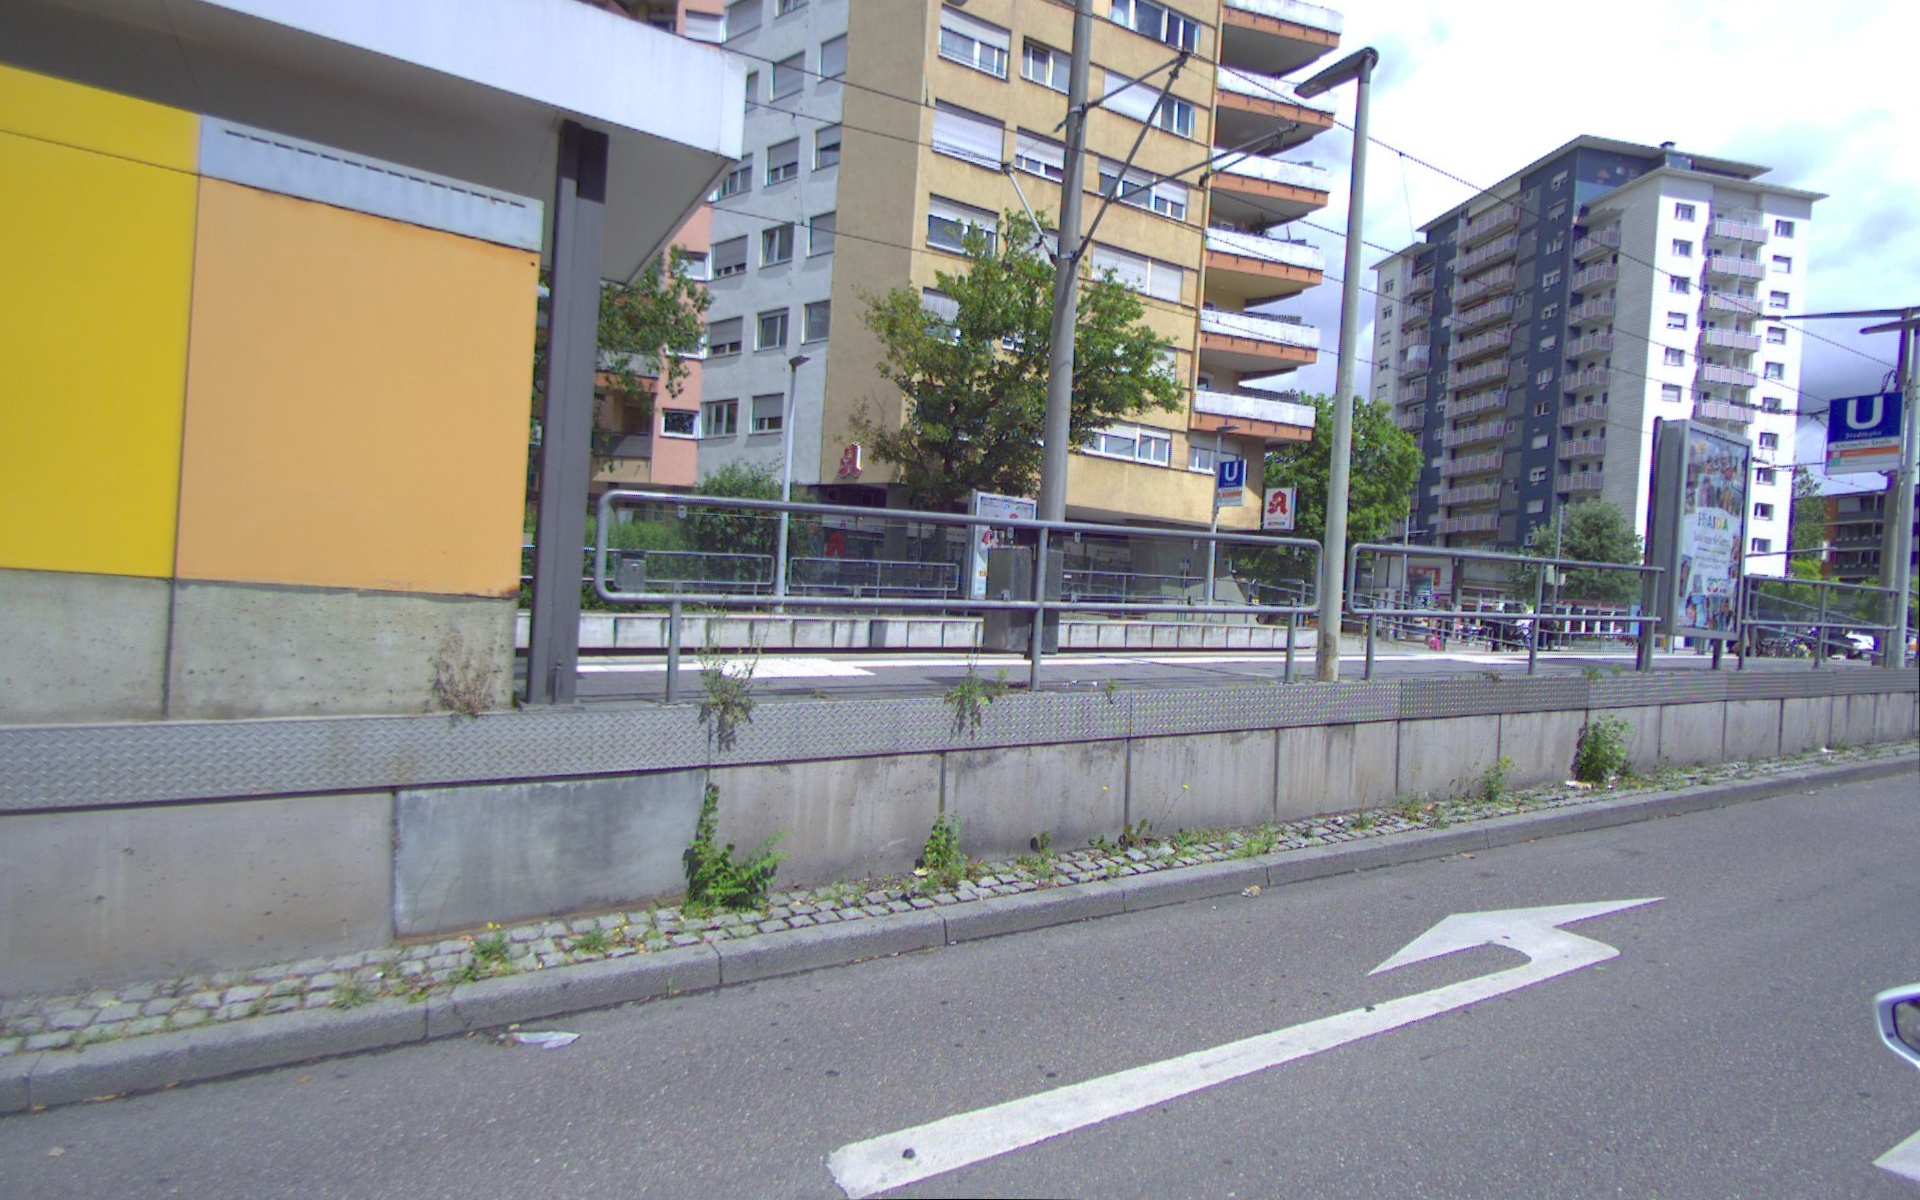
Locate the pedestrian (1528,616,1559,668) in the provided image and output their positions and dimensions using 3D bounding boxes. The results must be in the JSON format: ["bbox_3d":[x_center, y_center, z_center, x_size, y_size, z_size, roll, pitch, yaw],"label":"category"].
[{"bbox_3d":[15.627,1.110,26.914,0.677,1.360,0.859,1,0,30],"label":"pedestrian"}]

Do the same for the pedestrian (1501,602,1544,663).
[{"bbox_3d":[16.406,0.940,29.321,0.673,1.729,0.821,1,0,-25],"label":"pedestrian"}]

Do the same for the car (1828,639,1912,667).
[{"bbox_3d":[55.797,3.241,61.609,1.602,1.482,3.576,2,-1,-38],"label":"car"}]

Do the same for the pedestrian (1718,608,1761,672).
[{"bbox_3d":[20.502,1.053,26.423,0.630,1.654,0.697,1,-1,-30],"label":"pedestrian"}]

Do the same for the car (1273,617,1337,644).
[{"bbox_3d":[22.598,1.981,65.867,1.726,1.702,3.661,2,-1,-33],"label":"car"}]

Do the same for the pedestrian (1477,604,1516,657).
[{"bbox_3d":[16.466,0.936,30.838,0.618,1.599,0.851,1,0,-38],"label":"pedestrian"}]

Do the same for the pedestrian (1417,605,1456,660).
[{"bbox_3d":[15.278,1.025,32.229,0.680,1.719,0.855,1,0,-24],"label":"pedestrian"}]

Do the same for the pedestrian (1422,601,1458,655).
[{"bbox_3d":[14.632,0.858,30.621,0.760,1.604,0.609,1,0,-7],"label":"pedestrian"}]

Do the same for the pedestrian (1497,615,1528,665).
[{"bbox_3d":[15.352,1.110,27.932,0.543,1.360,0.669,2,0,12],"label":"pedestrian"}]

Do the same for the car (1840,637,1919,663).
[{"bbox_3d":[58.982,3.175,64.461,1.602,1.482,3.576,2,0,-38],"label":"car"}]
